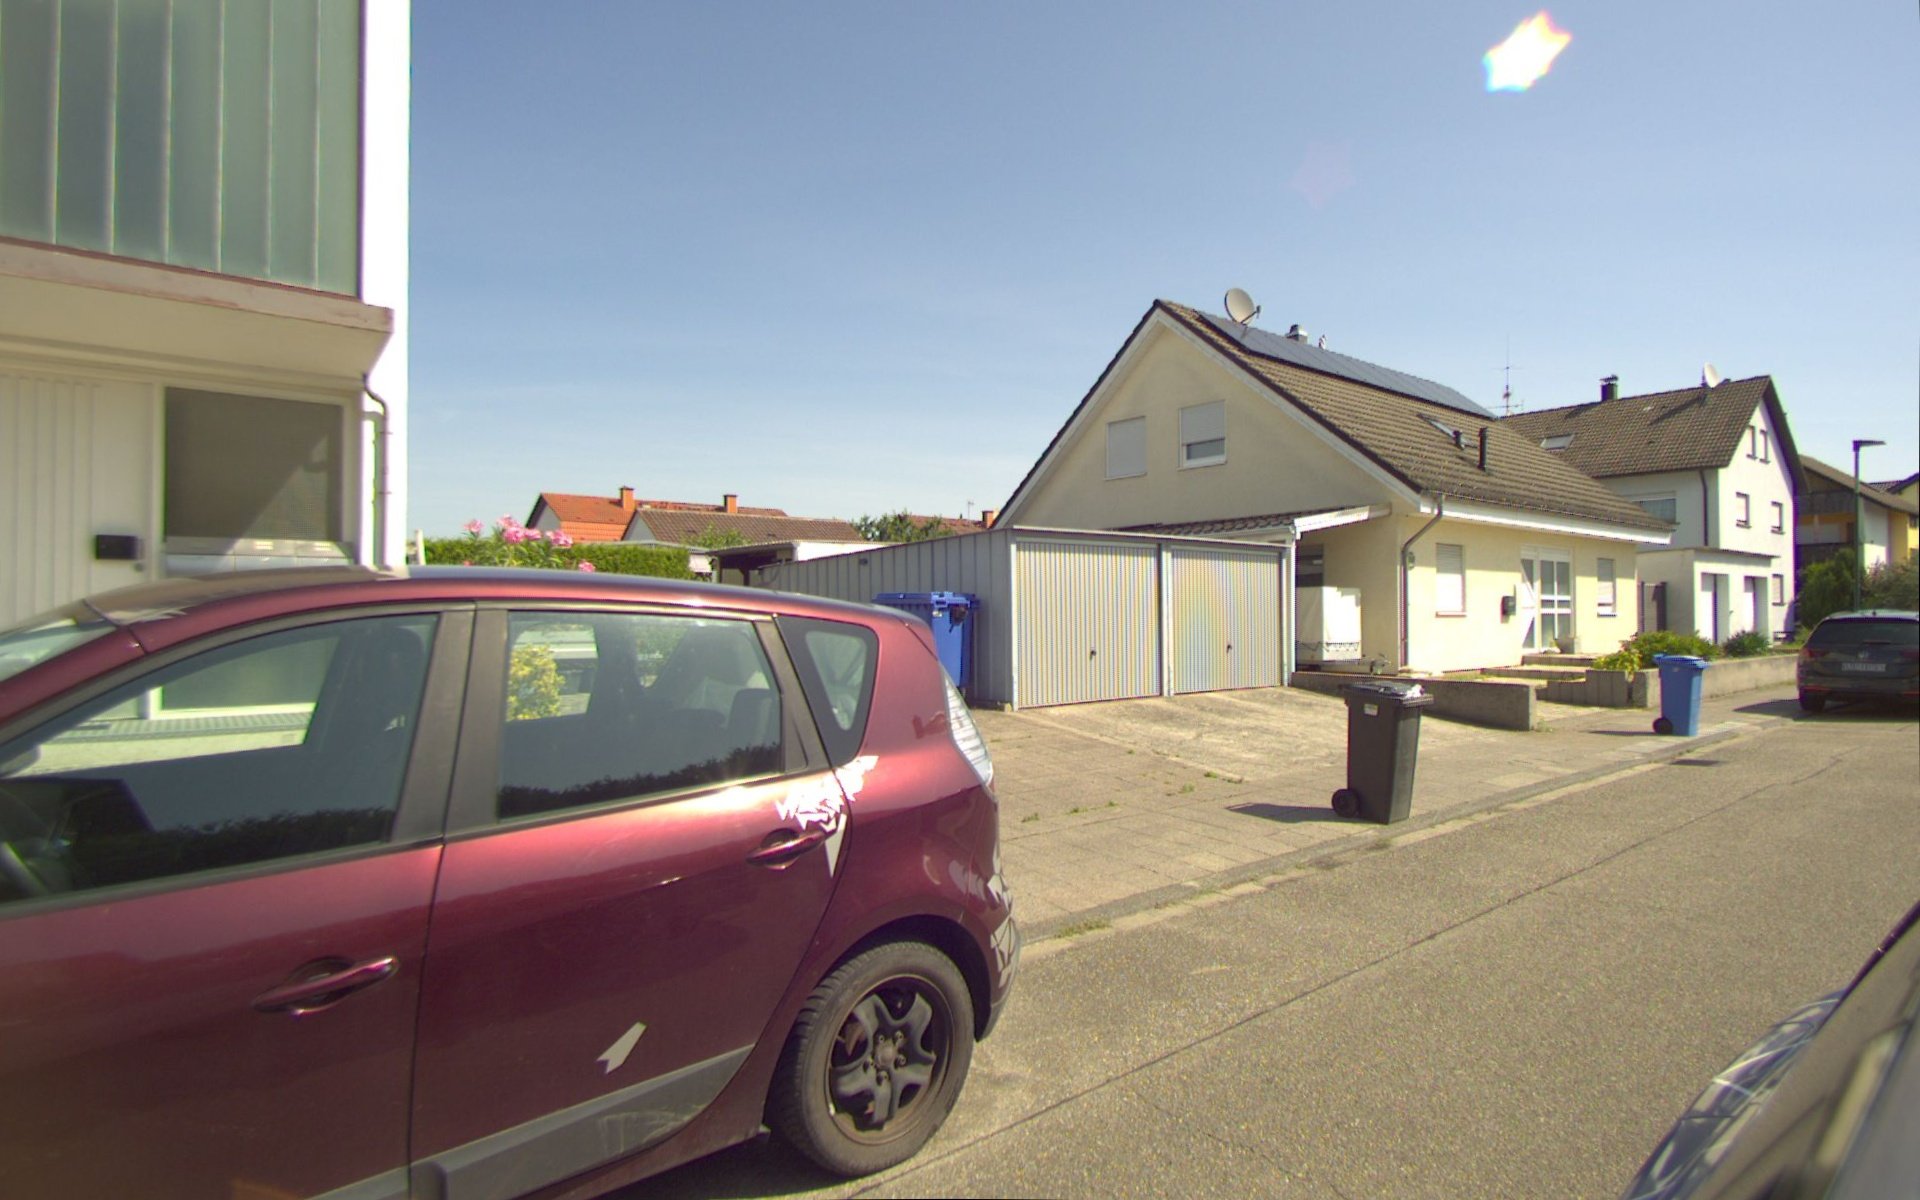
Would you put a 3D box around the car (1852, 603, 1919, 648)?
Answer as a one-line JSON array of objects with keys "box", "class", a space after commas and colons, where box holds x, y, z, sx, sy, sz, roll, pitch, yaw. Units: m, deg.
[{"box": [30.038, 0.778, 32.551, 3.463, 1.376, 1.497, 0, -1, -40], "class": "car"}]

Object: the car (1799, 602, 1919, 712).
[{"box": [14.302, 0.775, 15.072, 4.419, 1.457, 1.721, 0, -3, -37], "class": "car"}]

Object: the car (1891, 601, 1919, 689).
[{"box": [18.621, 0.761, 18.605, 3.929, 1.497, 1.645, -1, -1, -39], "class": "car"}]

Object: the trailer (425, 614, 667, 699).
[{"box": [-5.283, 0.667, 13.004, 2.633, 0.958, 1.331, 0, 0, -37], "class": "trailer"}]

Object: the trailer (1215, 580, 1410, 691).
[{"box": [5.883, 0.554, 17.090, 1.377, 1.711, 2.841, 1, -1, -37], "class": "trailer"}]

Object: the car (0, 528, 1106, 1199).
[{"box": [-1.639, 0.691, 2.567, 4.071, 1.601, 1.649, 0, -1, -38], "class": "car"}]
